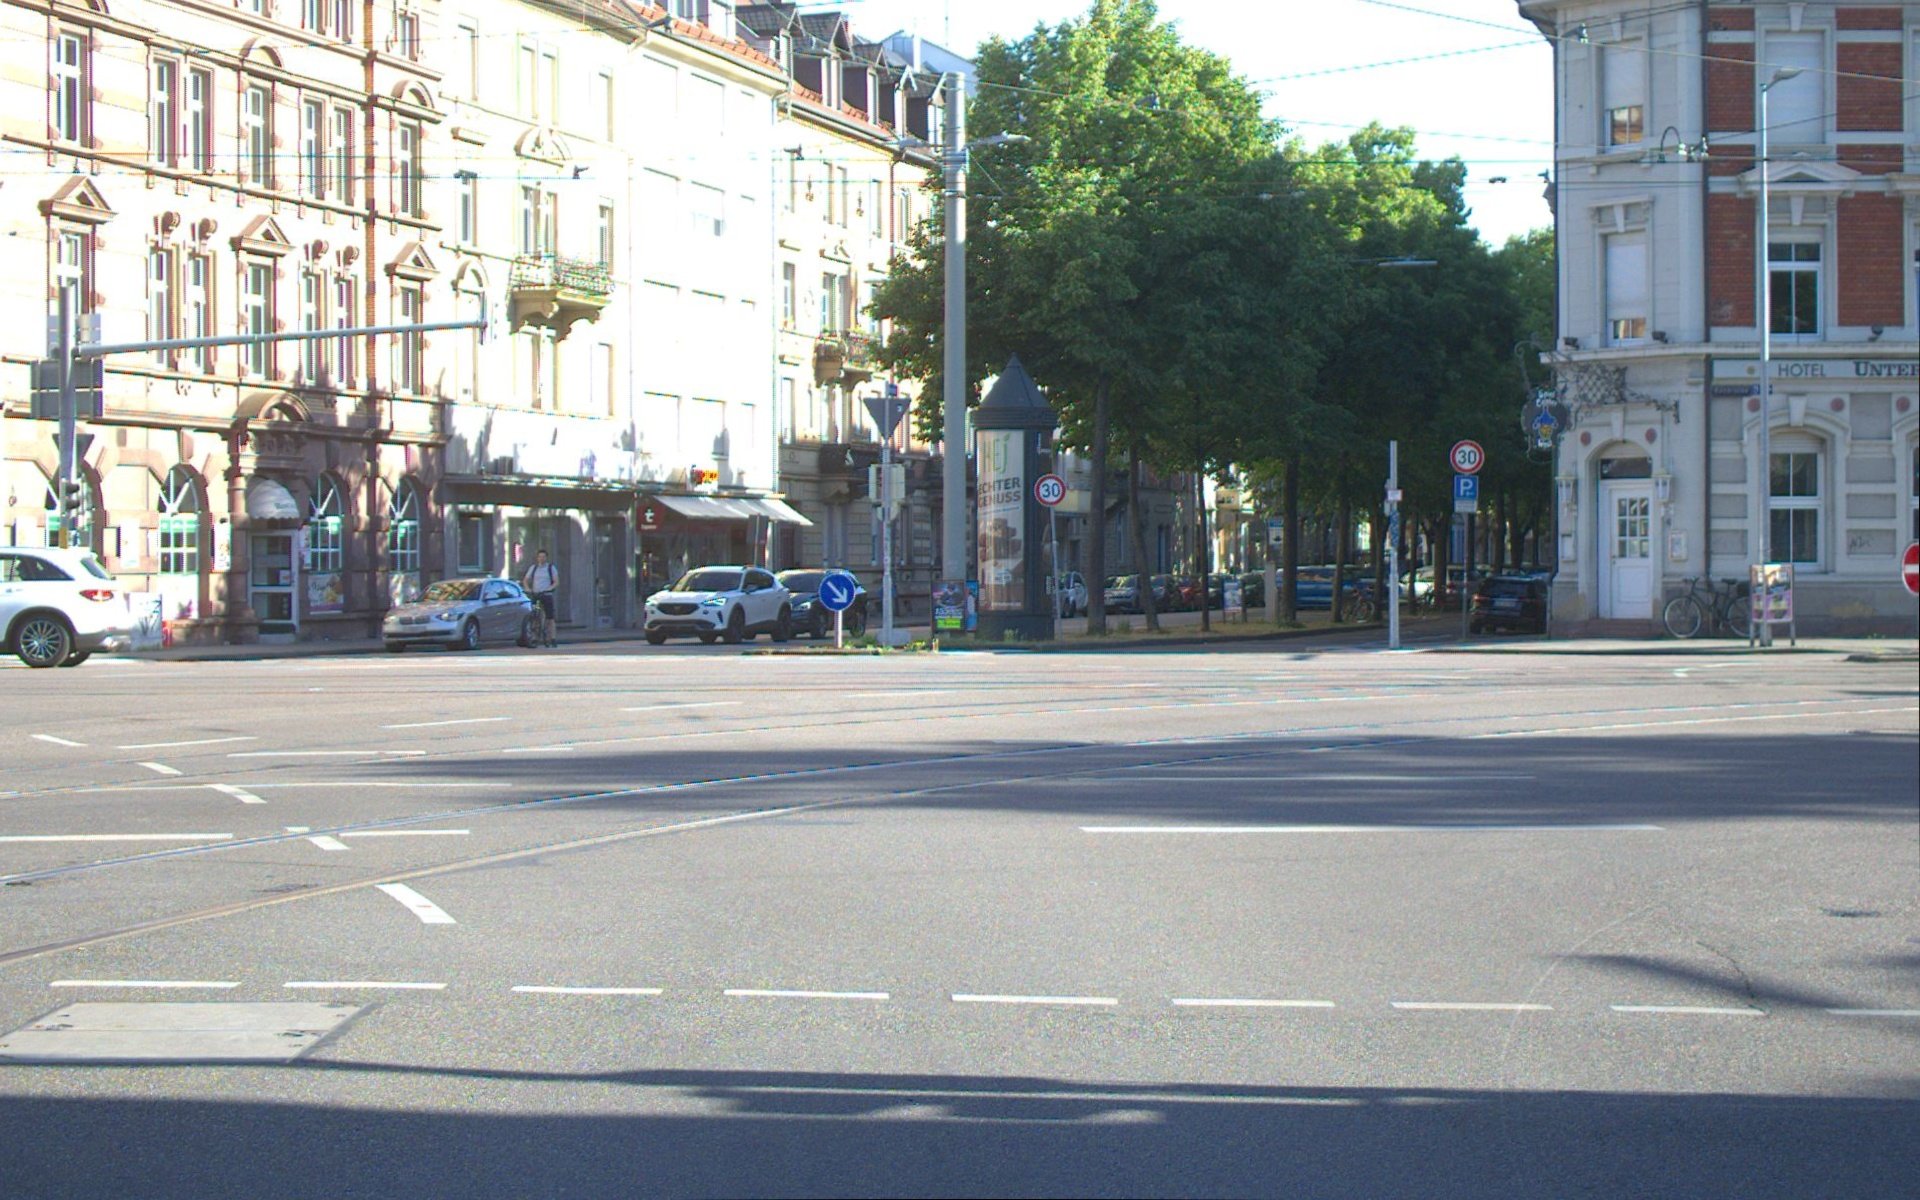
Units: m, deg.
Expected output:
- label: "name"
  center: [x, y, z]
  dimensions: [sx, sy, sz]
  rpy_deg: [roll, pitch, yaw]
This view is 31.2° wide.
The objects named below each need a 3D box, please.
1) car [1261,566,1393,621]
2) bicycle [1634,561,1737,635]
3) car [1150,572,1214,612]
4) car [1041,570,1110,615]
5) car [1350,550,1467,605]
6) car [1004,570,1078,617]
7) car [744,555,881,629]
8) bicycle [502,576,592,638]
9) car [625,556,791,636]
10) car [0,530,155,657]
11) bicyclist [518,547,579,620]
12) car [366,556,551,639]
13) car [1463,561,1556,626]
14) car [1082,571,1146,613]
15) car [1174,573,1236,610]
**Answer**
- label: "car"
  center: [12.293, -0.228, 115.229]
  dimensions: [4.113, 1.640, 1.745]
  rpy_deg: [3, 1, 15]
- label: "bicycle"
  center: [12.066, -0.035, 57.138]
  dimensions: [1.639, 1.218, 0.606]
  rpy_deg: [0, 1, 16]
- label: "car"
  center: [8.509, -0.316, 131.611]
  dimensions: [1.742, 1.393, 4.121]
  rpy_deg: [3, 1, 13]
- label: "car"
  center: [3.923, -0.258, 115.809]
  dimensions: [1.741, 1.393, 4.122]
  rpy_deg: [3, 1, 9]
- label: "car"
  center: [17.410, -0.879, 133.428]
  dimensions: [4.115, 1.912, 1.744]
  rpy_deg: [3, 1, 21]
- label: "car"
  center: [2.599, -0.219, 110.005]
  dimensions: [1.741, 1.393, 4.122]
  rpy_deg: [3, 1, 9]
- label: "car"
  center: [-3.125, -0.193, 73.536]
  dimensions: [1.994, 1.508, 3.998]
  rpy_deg: [0, 1, 12]
- label: "bicycle"
  center: [-7.863, 0.124, 65.632]
  dimensions: [0.751, 1.131, 2.808]
  rpy_deg: [0, 1, 14]
- label: "car"
  center: [-4.874, -0.106, 67.169]
  dimensions: [2.098, 1.494, 3.998]
  rpy_deg: [0, 1, 14]
- label: "car"
  center: [-13.309, -0.096, 45.624]
  dimensions: [4.847, 1.654, 2.000]
  rpy_deg: [0, 1, -4]
- label: "bicyclist"
  center: [-7.849, -0.317, 65.594]
  dimensions: [0.794, 1.370, 1.107]
  rpy_deg: [0, 1, 14]
- label: "car"
  center: [-9.773, -0.074, 67.383]
  dimensions: [2.098, 1.540, 4.361]
  rpy_deg: [0, 1, 14]
- label: "car"
  center: [13.171, -0.158, 82.290]
  dimensions: [1.652, 1.519, 3.750]
  rpy_deg: [0, 0, 17]
- label: "car"
  center: [5.509, -0.306, 122.787]
  dimensions: [1.741, 1.393, 4.122]
  rpy_deg: [3, 1, 9]
- label: "car"
  center: [9.727, -0.351, 136.390]
  dimensions: [1.742, 1.393, 4.121]
  rpy_deg: [3, 1, 13]
